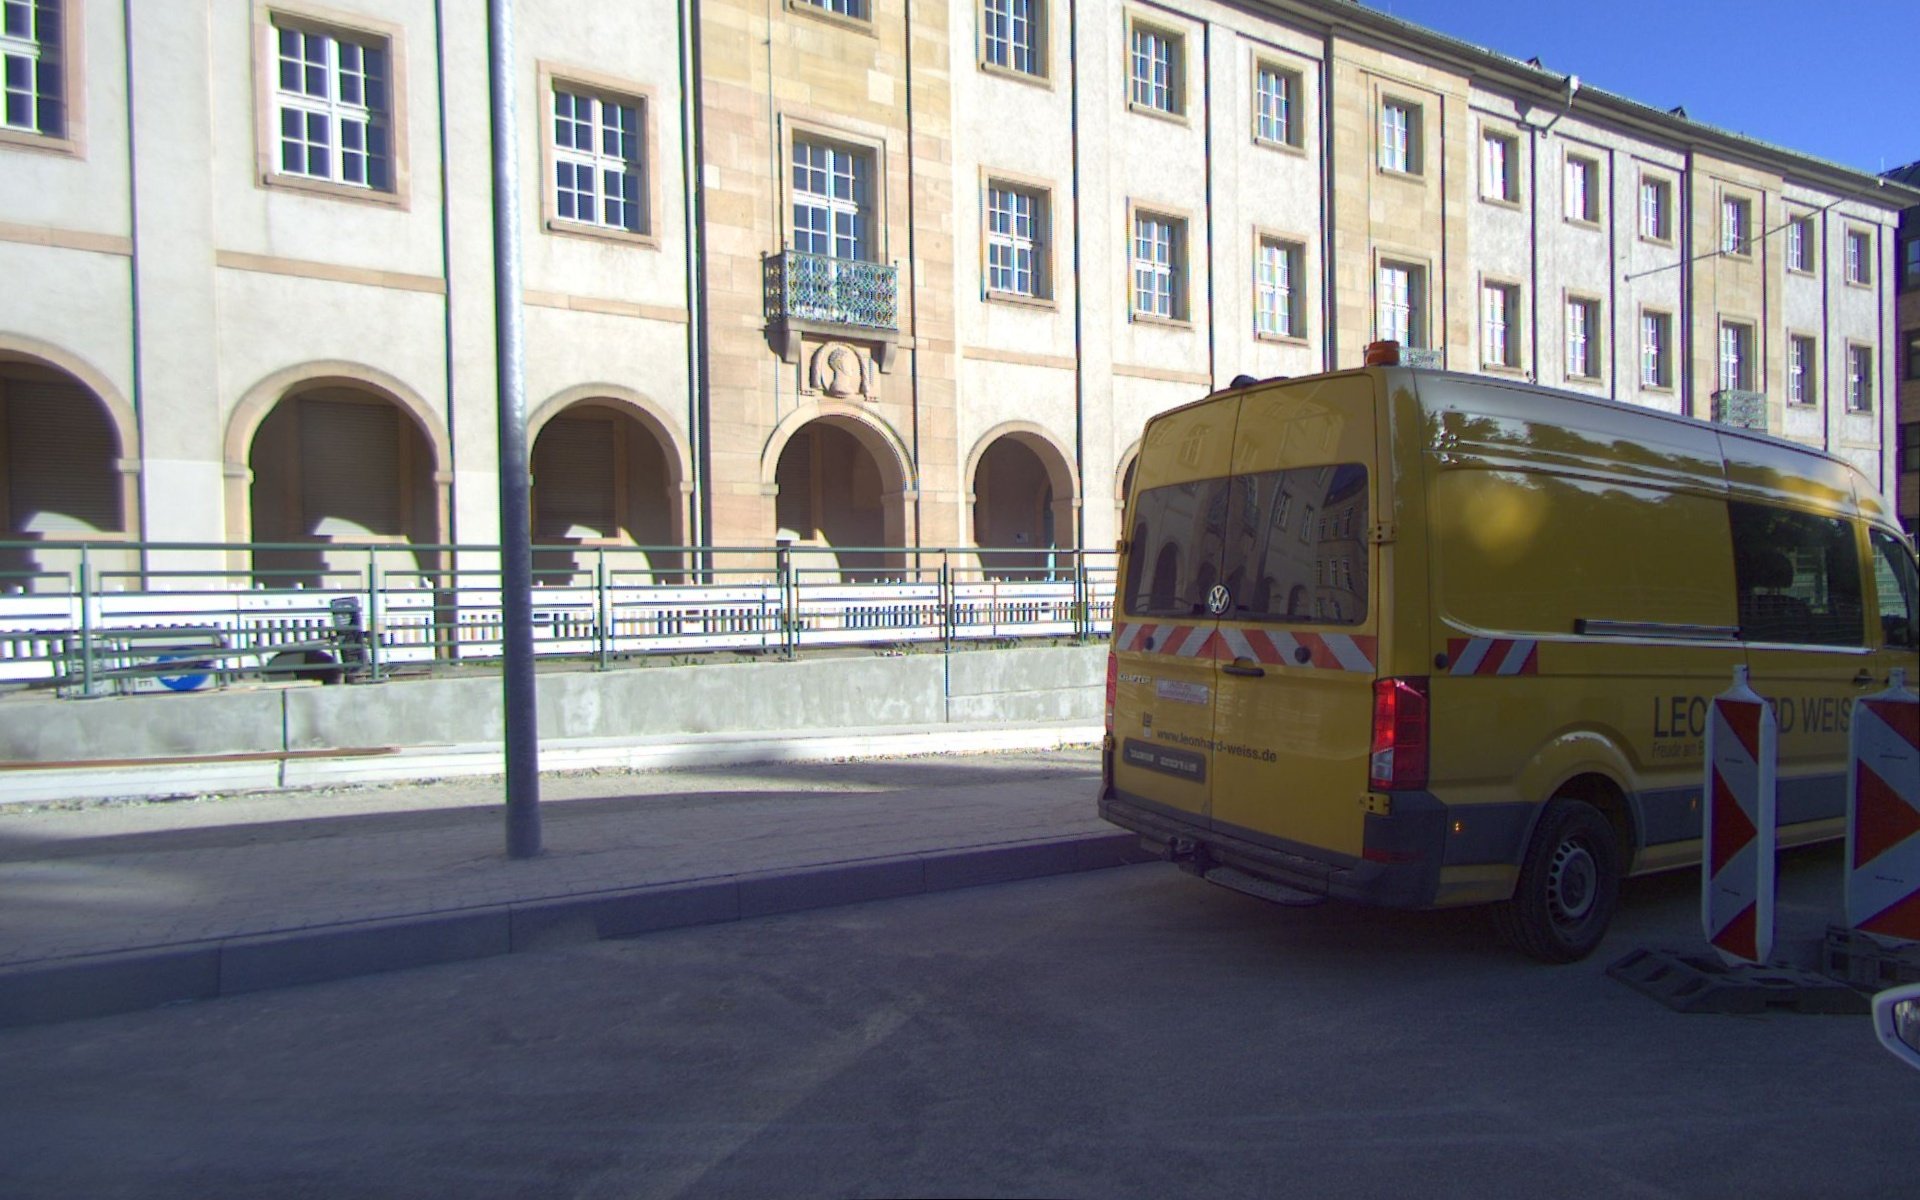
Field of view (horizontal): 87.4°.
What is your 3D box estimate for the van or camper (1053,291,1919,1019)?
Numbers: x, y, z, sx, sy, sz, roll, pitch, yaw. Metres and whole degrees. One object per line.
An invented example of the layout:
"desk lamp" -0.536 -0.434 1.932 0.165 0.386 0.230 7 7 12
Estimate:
"van or camper" 4.021 0.270 6.260 6.742 2.647 2.184 2 1 -29
